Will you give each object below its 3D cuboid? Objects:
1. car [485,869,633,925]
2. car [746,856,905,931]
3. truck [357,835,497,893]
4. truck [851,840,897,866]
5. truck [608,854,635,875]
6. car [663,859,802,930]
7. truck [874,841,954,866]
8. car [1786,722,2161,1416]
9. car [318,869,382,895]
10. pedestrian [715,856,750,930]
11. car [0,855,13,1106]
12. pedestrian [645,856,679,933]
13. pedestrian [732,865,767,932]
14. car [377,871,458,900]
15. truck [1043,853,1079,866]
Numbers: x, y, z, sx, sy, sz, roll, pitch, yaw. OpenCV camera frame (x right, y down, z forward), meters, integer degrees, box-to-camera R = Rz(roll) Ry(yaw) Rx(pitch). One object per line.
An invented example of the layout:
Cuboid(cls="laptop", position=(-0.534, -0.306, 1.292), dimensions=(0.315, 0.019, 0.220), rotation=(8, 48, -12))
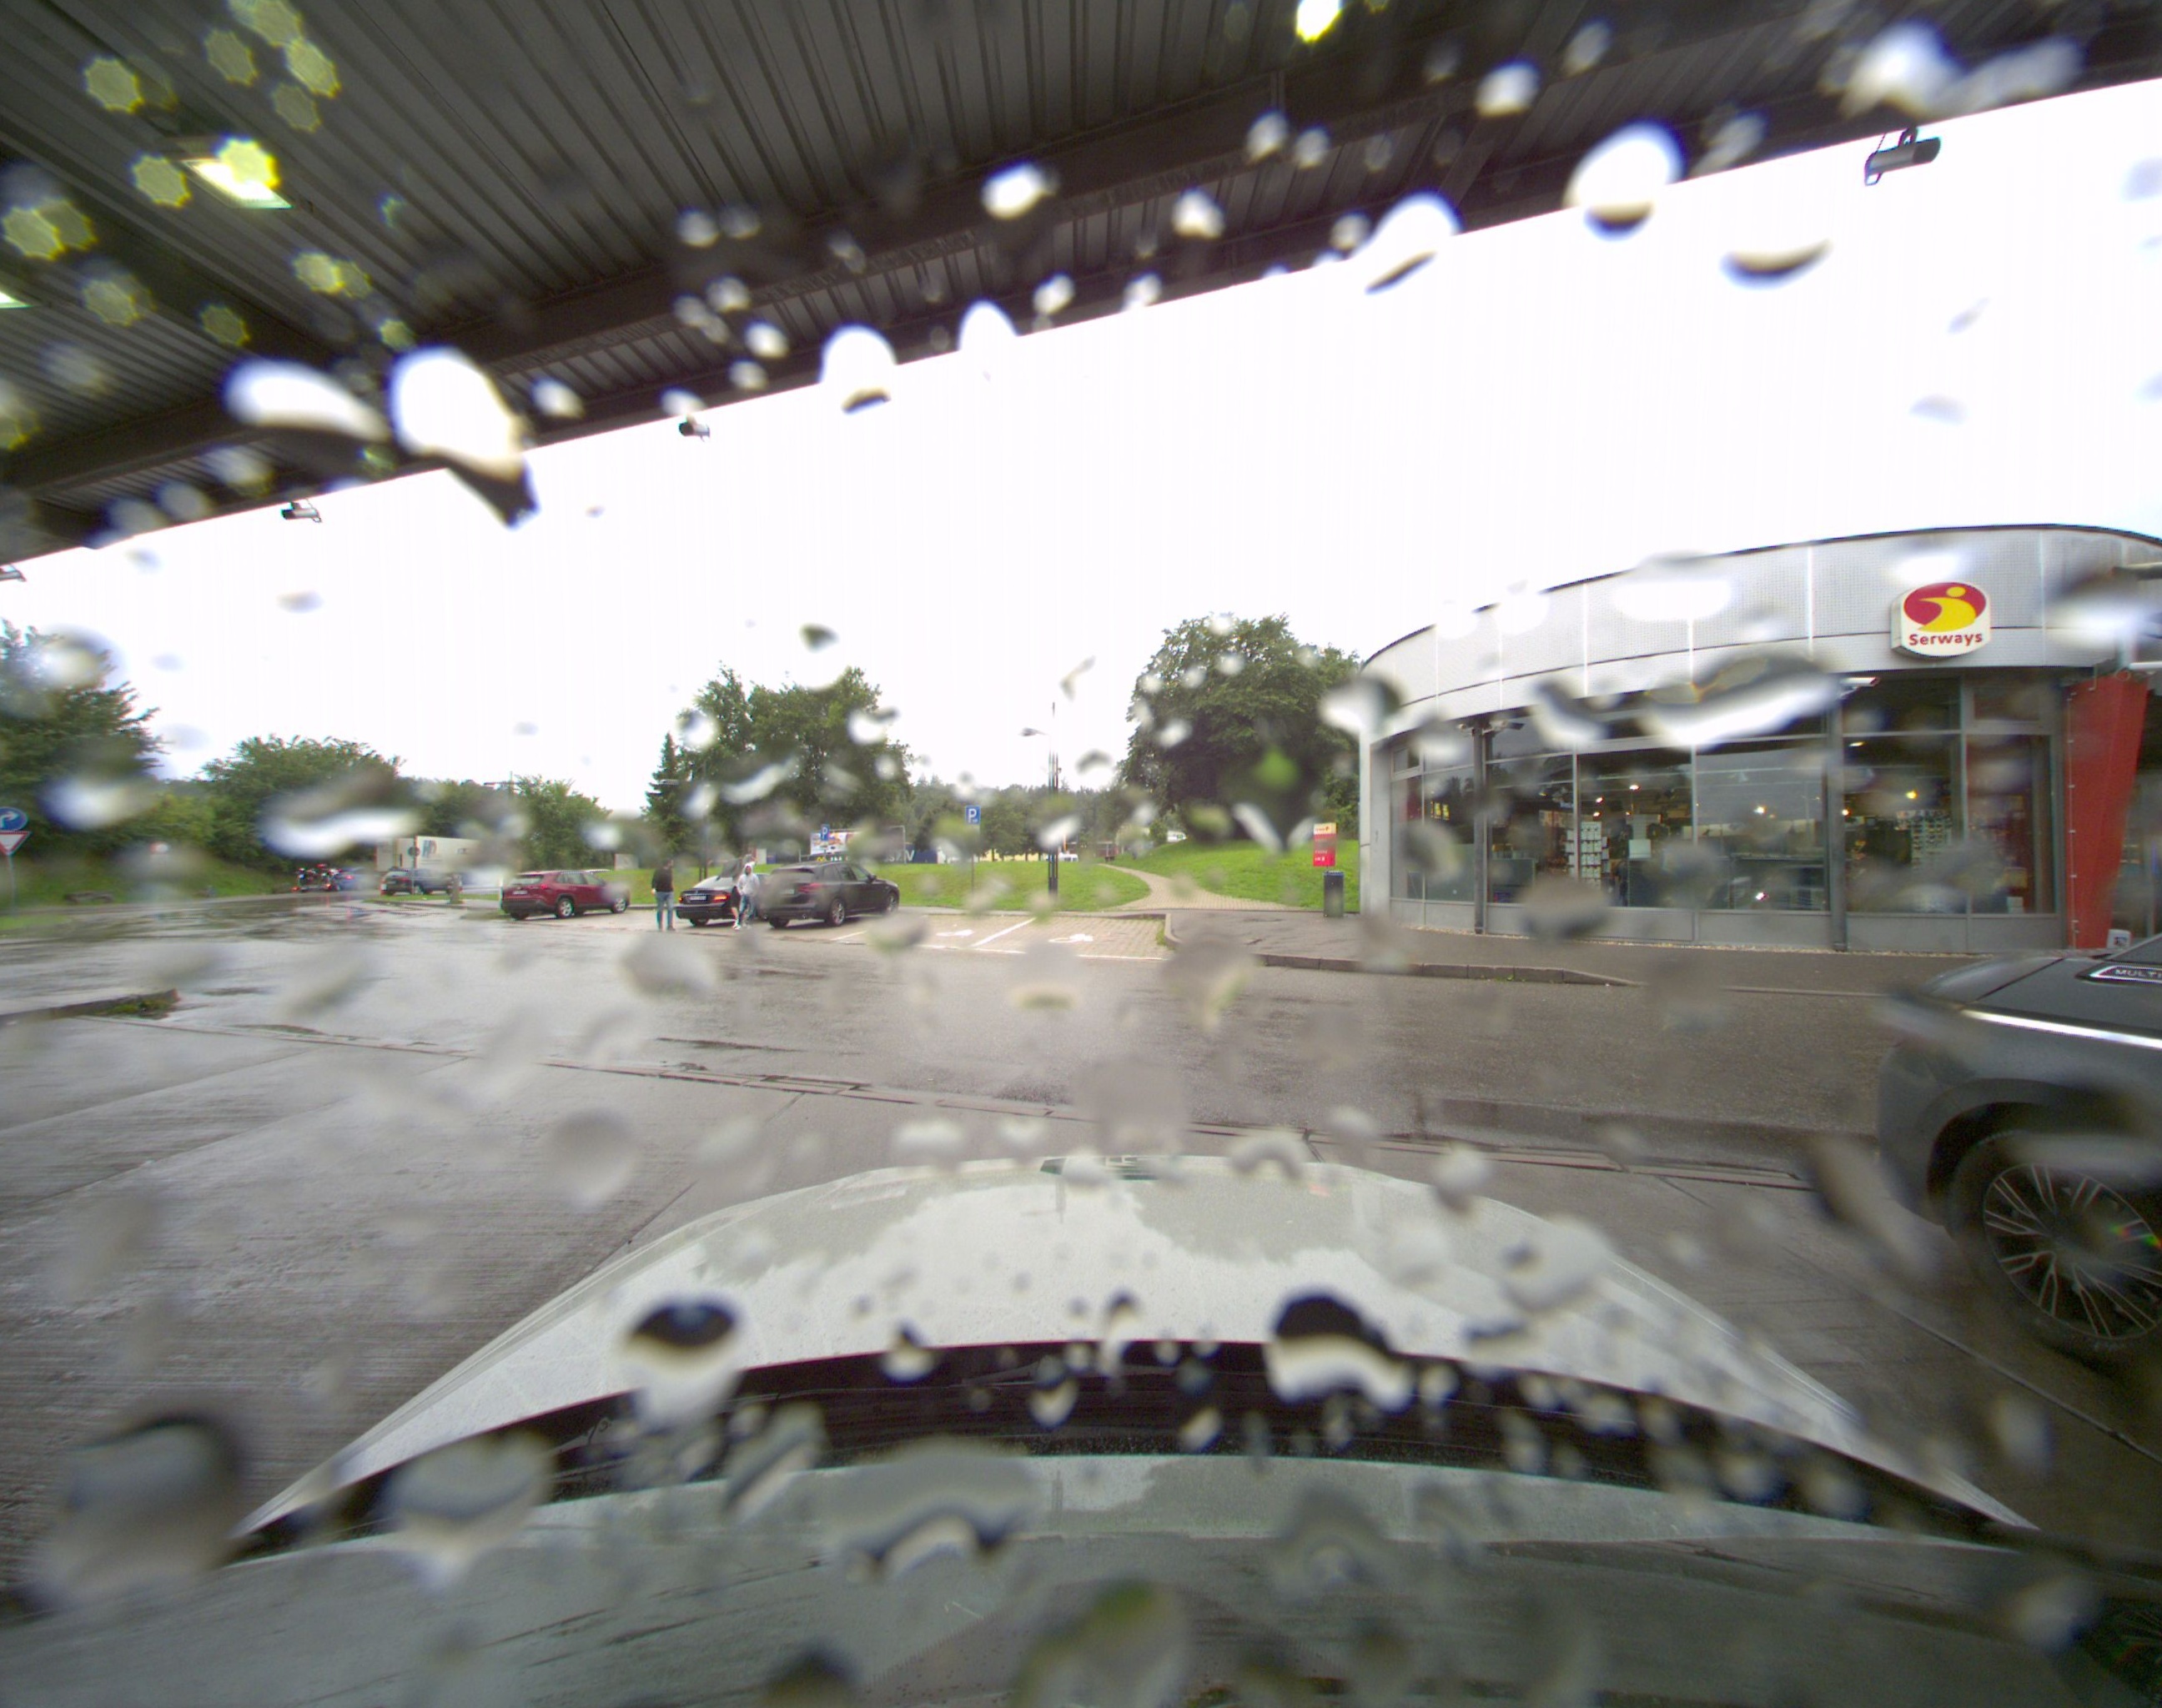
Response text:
Cuboid(cls="car", position=(-18.134, 1.437, 28.585), dimensions=(1.928, 1.644, 4.352), rotation=(-2, 0, 7))
Cuboid(cls="car", position=(-6.646, 0.968, 21.773), dimensions=(2.002, 1.711, 4.360), rotation=(-2, 0, 14))
Cuboid(cls="truck", position=(-55.442, 0.832, 69.969), dimensions=(3.550, 4.340, 16.899), rotation=(0, -1, -18))
Cuboid(cls="truck", position=(-24.183, -0.090, 95.448), dimensions=(2.165, 2.920, 5.419), rotation=(-1, -1, 27))
Cuboid(cls="truck", position=(-68.344, 1.525, 121.205), dimensions=(2.486, 3.085, 7.305), rotation=(0, -1, -21))
Cuboid(cls="car", position=(-9.832, 1.078, 23.418), dimensions=(2.010, 1.711, 4.344), rotation=(-2, 0, 1))
Cuboid(cls="truck", position=(-20.751, -0.058, 102.340), dimensions=(2.165, 2.920, 13.175), rotation=(-1, -1, 26))
Cuboid(cls="car", position=(3.678, 0.540, 0.671), dimensions=(1.854, 1.798, 5.142), rotation=(0, -1, 2))
Cuboid(cls="car", position=(-50.341, 1.872, 56.165), dimensions=(1.814, 1.681, 3.927), rotation=(0, -1, -18))
Cuboid(cls="pedestrian", position=(-9.177, 0.993, 21.422), dimensions=(0.706, 1.887, 0.944), rotation=(0, -1, -31))
Cuboid(cls="car", position=(-7.964, 0.799, 2.669), dimensions=(1.854, 1.608, 5.273), rotation=(0, -1, 2))
Cuboid(cls="pedestrian", position=(-10.564, 1.006, 20.555), dimensions=(0.705, 1.887, 0.886), rotation=(0, -1, -25))
Cuboid(cls="pedestrian", position=(-8.279, 1.084, 20.365), dimensions=(0.703, 1.631, 0.949), rotation=(0, -1, -15))
Cuboid(cls="car", position=(-40.862, 1.897, 50.292), dimensions=(1.991, 1.678, 3.991), rotation=(-1, -1, -6))
Cuboid(cls="truck", position=(-3.247, 0.876, 134.098), dimensions=(5.356, 2.014, 2.381), rotation=(-1, -1, 26))
